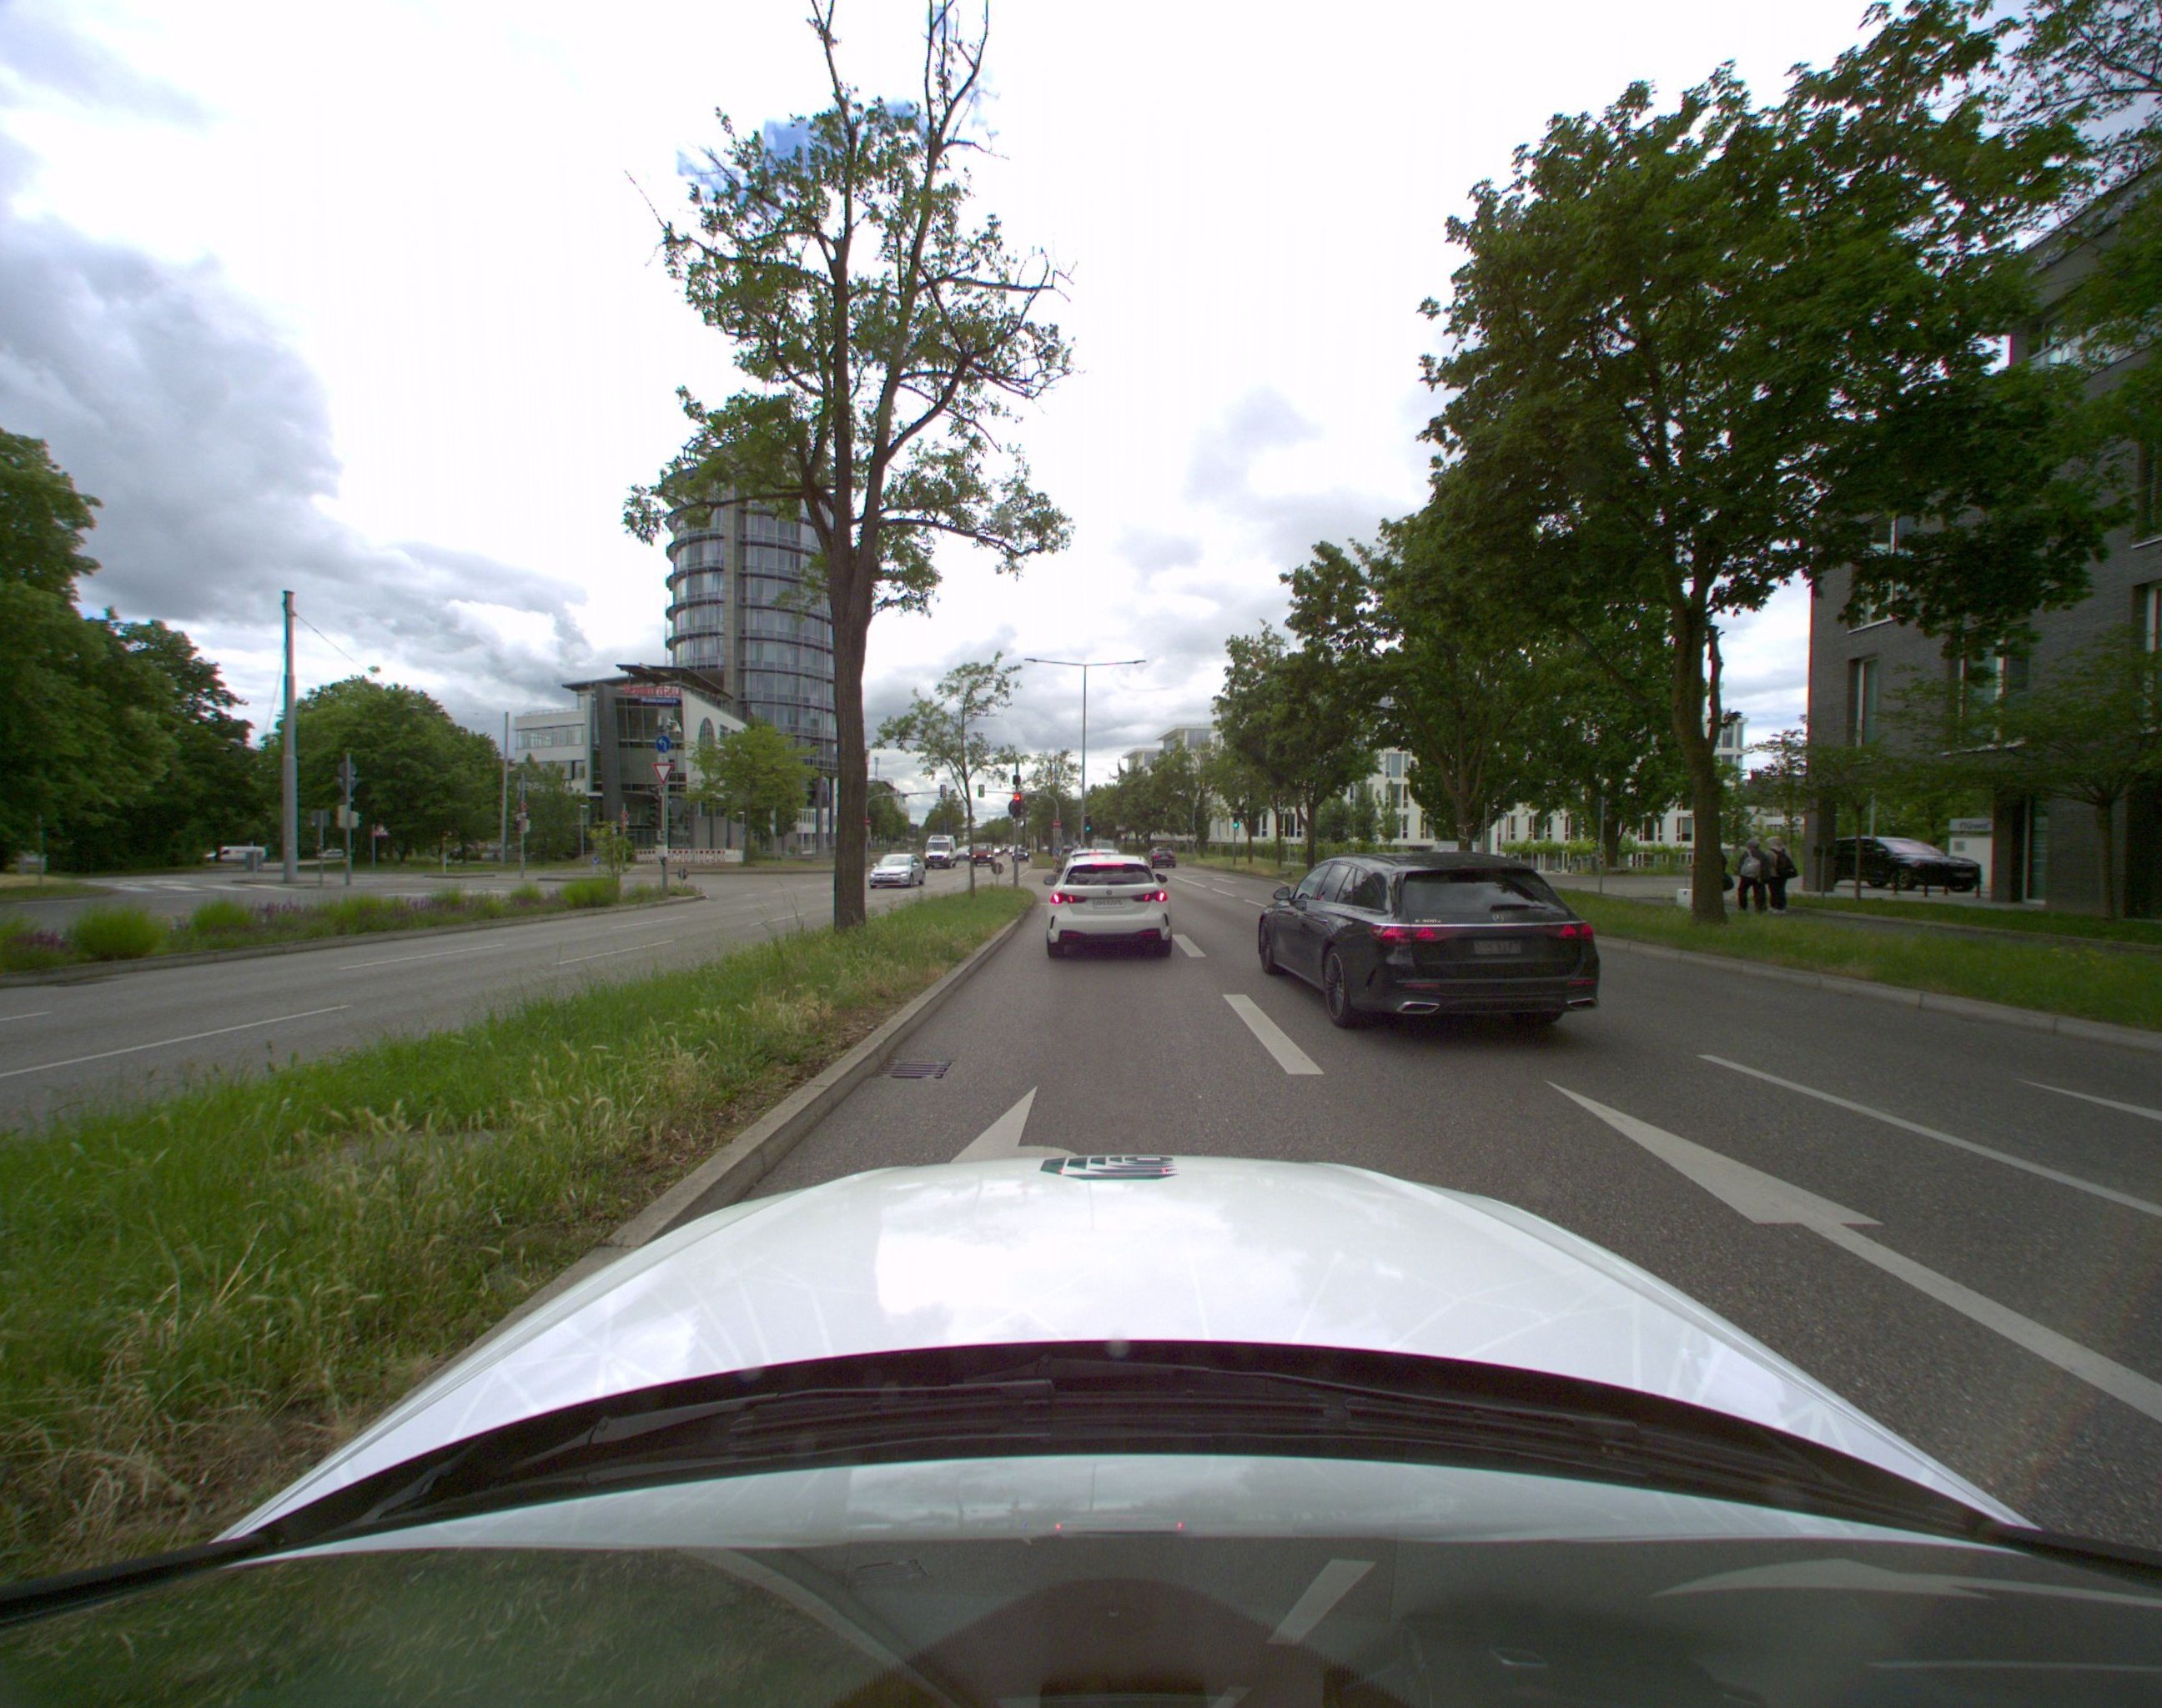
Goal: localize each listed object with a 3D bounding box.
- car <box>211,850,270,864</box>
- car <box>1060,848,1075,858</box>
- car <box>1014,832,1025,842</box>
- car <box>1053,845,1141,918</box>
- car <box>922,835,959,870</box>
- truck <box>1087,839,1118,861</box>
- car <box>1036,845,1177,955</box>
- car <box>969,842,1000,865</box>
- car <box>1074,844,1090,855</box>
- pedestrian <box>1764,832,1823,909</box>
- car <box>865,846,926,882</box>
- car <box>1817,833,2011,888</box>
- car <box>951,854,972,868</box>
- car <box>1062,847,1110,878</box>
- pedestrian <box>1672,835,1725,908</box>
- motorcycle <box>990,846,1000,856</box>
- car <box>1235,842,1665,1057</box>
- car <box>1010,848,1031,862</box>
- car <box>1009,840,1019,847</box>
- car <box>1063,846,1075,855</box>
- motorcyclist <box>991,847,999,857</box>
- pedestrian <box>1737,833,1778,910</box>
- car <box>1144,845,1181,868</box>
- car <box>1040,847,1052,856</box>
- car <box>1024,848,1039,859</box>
[{"bbox_3d":[-128.072,0.446,124.183,1.977,2.013,6.012,0,0,18],"label":"car"},{"bbox_3d":[-2.229,-0.182,133.684,1.992,1.508,3.990,0,0,-7],"label":"car"},{"bbox_3d":[-13.569,-3.756,179.297,1.988,2.010,4.322,2,0,-1],"label":"car"},{"bbox_3d":[0.451,0.634,20.569,1.986,1.672,4.002,0,0,2],"label":"car"},{"bbox_3d":[-11.157,-0.157,65.153,1.988,2.634,5.872,2,0,-1],"label":"car"},{"bbox_3d":[2.448,-0.467,96.159,2.856,2.519,6.273,0,0,-6],"label":"truck"},{"bbox_3d":[0.477,0.605,12.748,1.855,1.449,4.004,0,0,4],"label":"car"},{"bbox_3d":[-8.238,-0.075,70.106,1.928,1.918,4.975,0,0,1],"label":"car"},{"bbox_3d":[0.116,-0.583,114.038,1.991,1.508,3.992,0,0,-6],"label":"car"},{"bbox_3d":[14.743,0.337,16.862,0.586,1.552,0.745,1,0,7],"label":"pedestrian"},{"bbox_3d":[-8.112,0.397,35.975,1.748,1.444,4.133,2,0,-1],"label":"car"},{"bbox_3d":[25.058,0.169,24.737,1.817,1.552,4.183,0,0,4],"label":"car"},{"bbox_3d":[-13.226,0.741,90.267,1.701,1.419,3.804,-1,0,1],"label":"car"},{"bbox_3d":[0.314,0.439,42.106,1.983,1.508,4.008,0,0,7],"label":"car"},{"bbox_3d":[13.382,0.372,17.667,0.721,1.552,0.588,0,0,6],"label":"pedestrian"},{"bbox_3d":[-11.897,-0.403,112.994,0.886,1.398,4.001,0,0,2],"label":"motorcycle"},{"bbox_3d":[3.022,0.646,8.107,2.046,1.486,4.972,0,0,0],"label":"car"},{"bbox_3d":[-6.132,0.077,83.361,1.747,1.371,3.781,-1,0,1],"label":"car"},{"bbox_3d":[-16.197,-2.451,196.512,1.986,1.618,4.001,2,0,1],"label":"car"},{"bbox_3d":[-2.076,-0.658,136.811,1.988,1.490,3.998,1,0,-1],"label":"car"},{"bbox_3d":[-11.915,-0.320,112.737,0.906,1.392,1.674,0,0,2],"label":"motorcyclist"},{"bbox_3d":[13.962,0.359,16.815,0.407,1.552,0.563,1,0,7],"label":"pedestrian"},{"bbox_3d":[5.793,0.190,58.392,1.990,1.596,3.994,0,0,-4],"label":"car"},{"bbox_3d":[-6.121,-0.381,141.580,1.988,1.490,3.998,1,0,-1],"label":"car"},{"bbox_3d":[-6.900,-0.088,113.873,1.701,1.497,3.804,-1,0,1],"label":"car"}]
